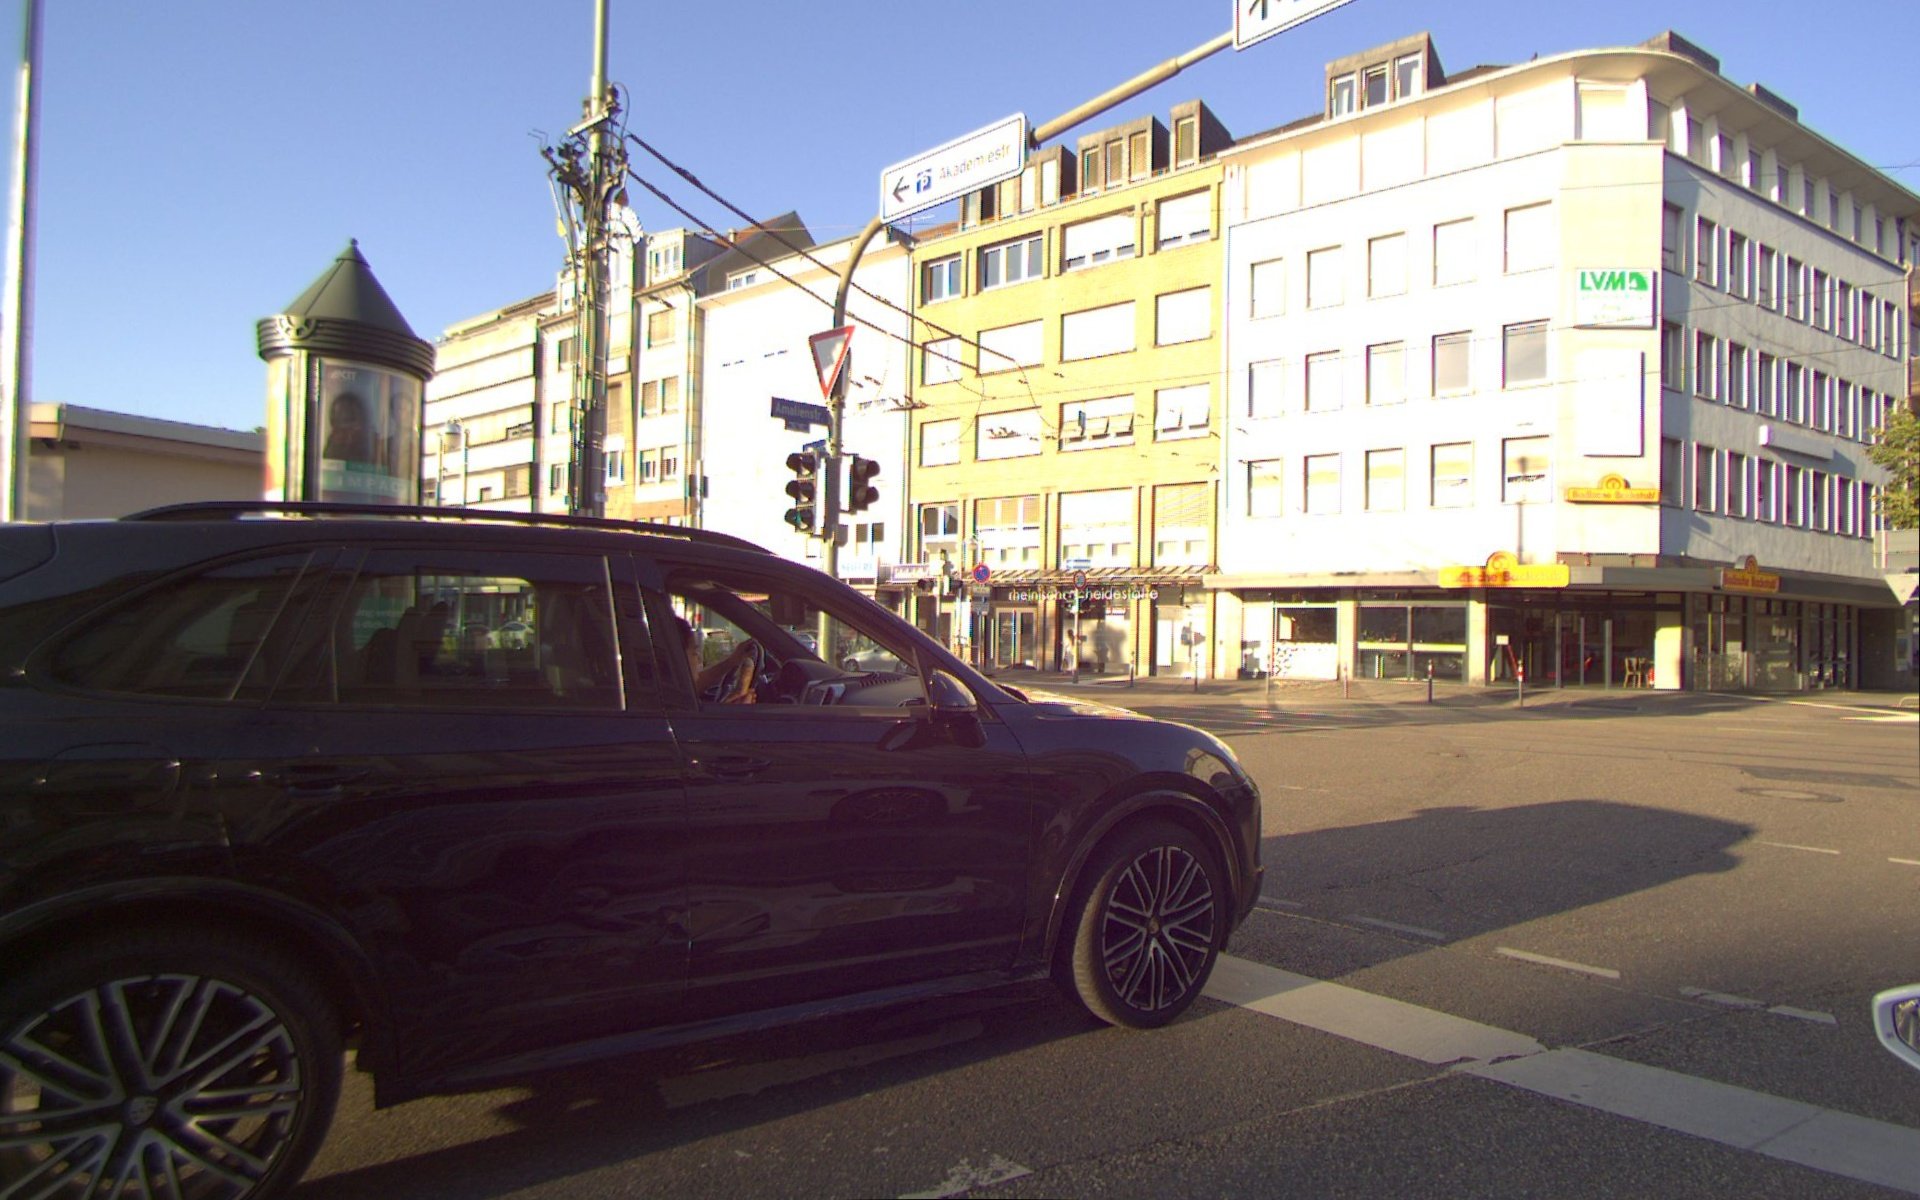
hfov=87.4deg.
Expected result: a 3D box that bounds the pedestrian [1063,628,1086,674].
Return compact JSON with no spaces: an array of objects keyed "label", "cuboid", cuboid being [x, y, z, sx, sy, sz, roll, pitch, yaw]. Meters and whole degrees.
[{"label":"pedestrian","cuboid":[3.864,1.720,33.945,0.613,1.492,0.543,-1,1,21]}]

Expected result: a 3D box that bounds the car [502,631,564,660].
[{"label":"car","cuboid":[-20.743,2.210,48.787,3.097,1.309,1.455,-1,0,38]}]

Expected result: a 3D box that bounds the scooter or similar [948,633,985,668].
[{"label":"scooter or similar","cuboid":[0.244,1.873,37.514,1.444,1.275,0.394,-1,-1,39]}]

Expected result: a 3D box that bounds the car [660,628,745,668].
[{"label":"car","cuboid":[-10.504,1.922,40.904,3.335,1.484,1.631,-1,0,38]}]

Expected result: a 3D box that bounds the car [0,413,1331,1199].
[{"label":"car","cuboid":[-0.953,0.555,3.548,4.516,1.720,1.792,2,-1,-30]}]

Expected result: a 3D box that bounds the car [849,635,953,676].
[{"label":"car","cuboid":[-2.047,1.866,34.440,3.335,1.270,1.631,-1,0,38]}]

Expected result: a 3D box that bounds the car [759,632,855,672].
[{"label":"car","cuboid":[-5.658,1.878,36.942,3.335,1.372,1.631,-1,0,38]}]
